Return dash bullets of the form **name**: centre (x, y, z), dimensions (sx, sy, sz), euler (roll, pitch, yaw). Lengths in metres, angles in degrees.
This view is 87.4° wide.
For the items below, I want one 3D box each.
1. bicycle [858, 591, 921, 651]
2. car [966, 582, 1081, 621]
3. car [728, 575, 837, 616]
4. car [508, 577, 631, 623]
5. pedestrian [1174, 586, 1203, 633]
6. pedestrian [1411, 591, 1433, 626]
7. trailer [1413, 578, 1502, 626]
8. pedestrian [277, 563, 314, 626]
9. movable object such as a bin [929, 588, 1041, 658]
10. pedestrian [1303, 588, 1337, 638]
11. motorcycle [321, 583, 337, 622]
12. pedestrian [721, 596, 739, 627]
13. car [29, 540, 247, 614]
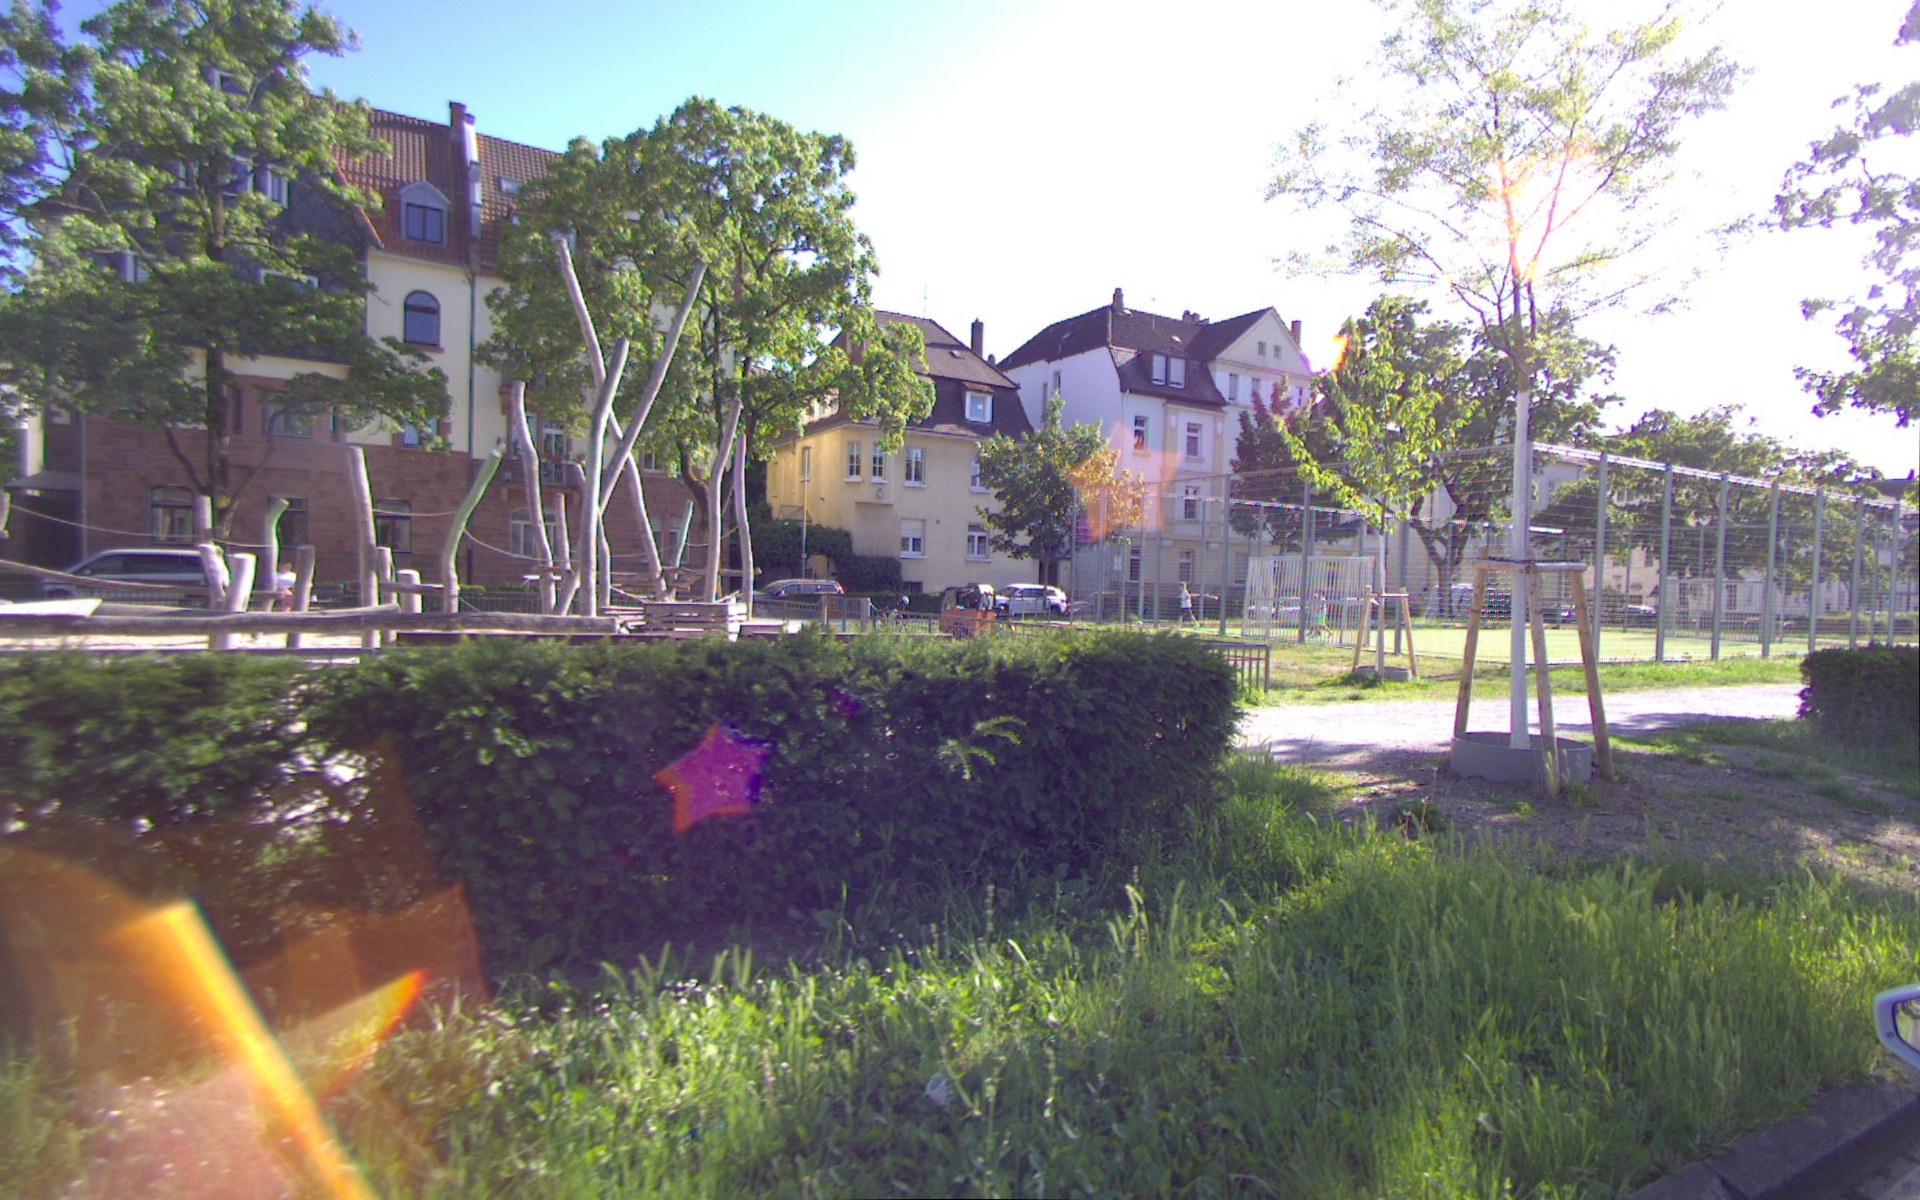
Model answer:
- **bicycle**: centre (-1.447, 0.409, 20.316), dimensions (0.494, 1.122, 1.785), euler (1, 2, -31)
- **car**: centre (2.961, 0.087, 46.416), dimensions (5.121, 1.674, 1.872), euler (1, 1, -30)
- **car**: centre (-7.159, -0.160, 40.588), dimensions (3.953, 1.530, 1.785), euler (1, 1, -30)
- **car**: centre (-14.190, 0.012, 36.555), dimensions (3.953, 1.530, 1.785), euler (1, 1, -30)
- **pedestrian**: centre (6.632, 0.264, 29.216), dimensions (0.637, 1.336, 0.650), euler (2, 1, -1)
- **pedestrian**: centre (22.176, 0.413, 48.215), dimensions (0.642, 1.683, 0.645), euler (1, 0, -30)
- **trailer**: centre (31.900, 0.119, 64.321), dimensions (5.736, 2.909, 2.331), euler (1, 2, -31)
- **pedestrian**: centre (-14.314, -0.116, 21.658), dimensions (0.643, 1.336, 0.644), euler (1, 2, -33)
- **movable object such as a bin**: centre (0.452, 0.413, 19.581), dimensions (1.045, 1.258, 2.316), euler (1, 1, -33)
- **pedestrian**: centre (9.889, 0.349, 27.602), dimensions (0.637, 1.336, 0.650), euler (2, 1, -1)
- **motorcycle**: centre (-13.872, 0.047, 22.078), dimensions (0.281, 0.838, 0.698), euler (1, 2, -31)
- **pedestrian**: centre (-6.271, 0.310, 27.378), dimensions (0.354, 0.815, 0.481), euler (1, 2, -28)
- **car**: centre (-24.370, -0.647, 30.043), dimensions (4.778, 2.009, 1.785), euler (1, 2, -30)
